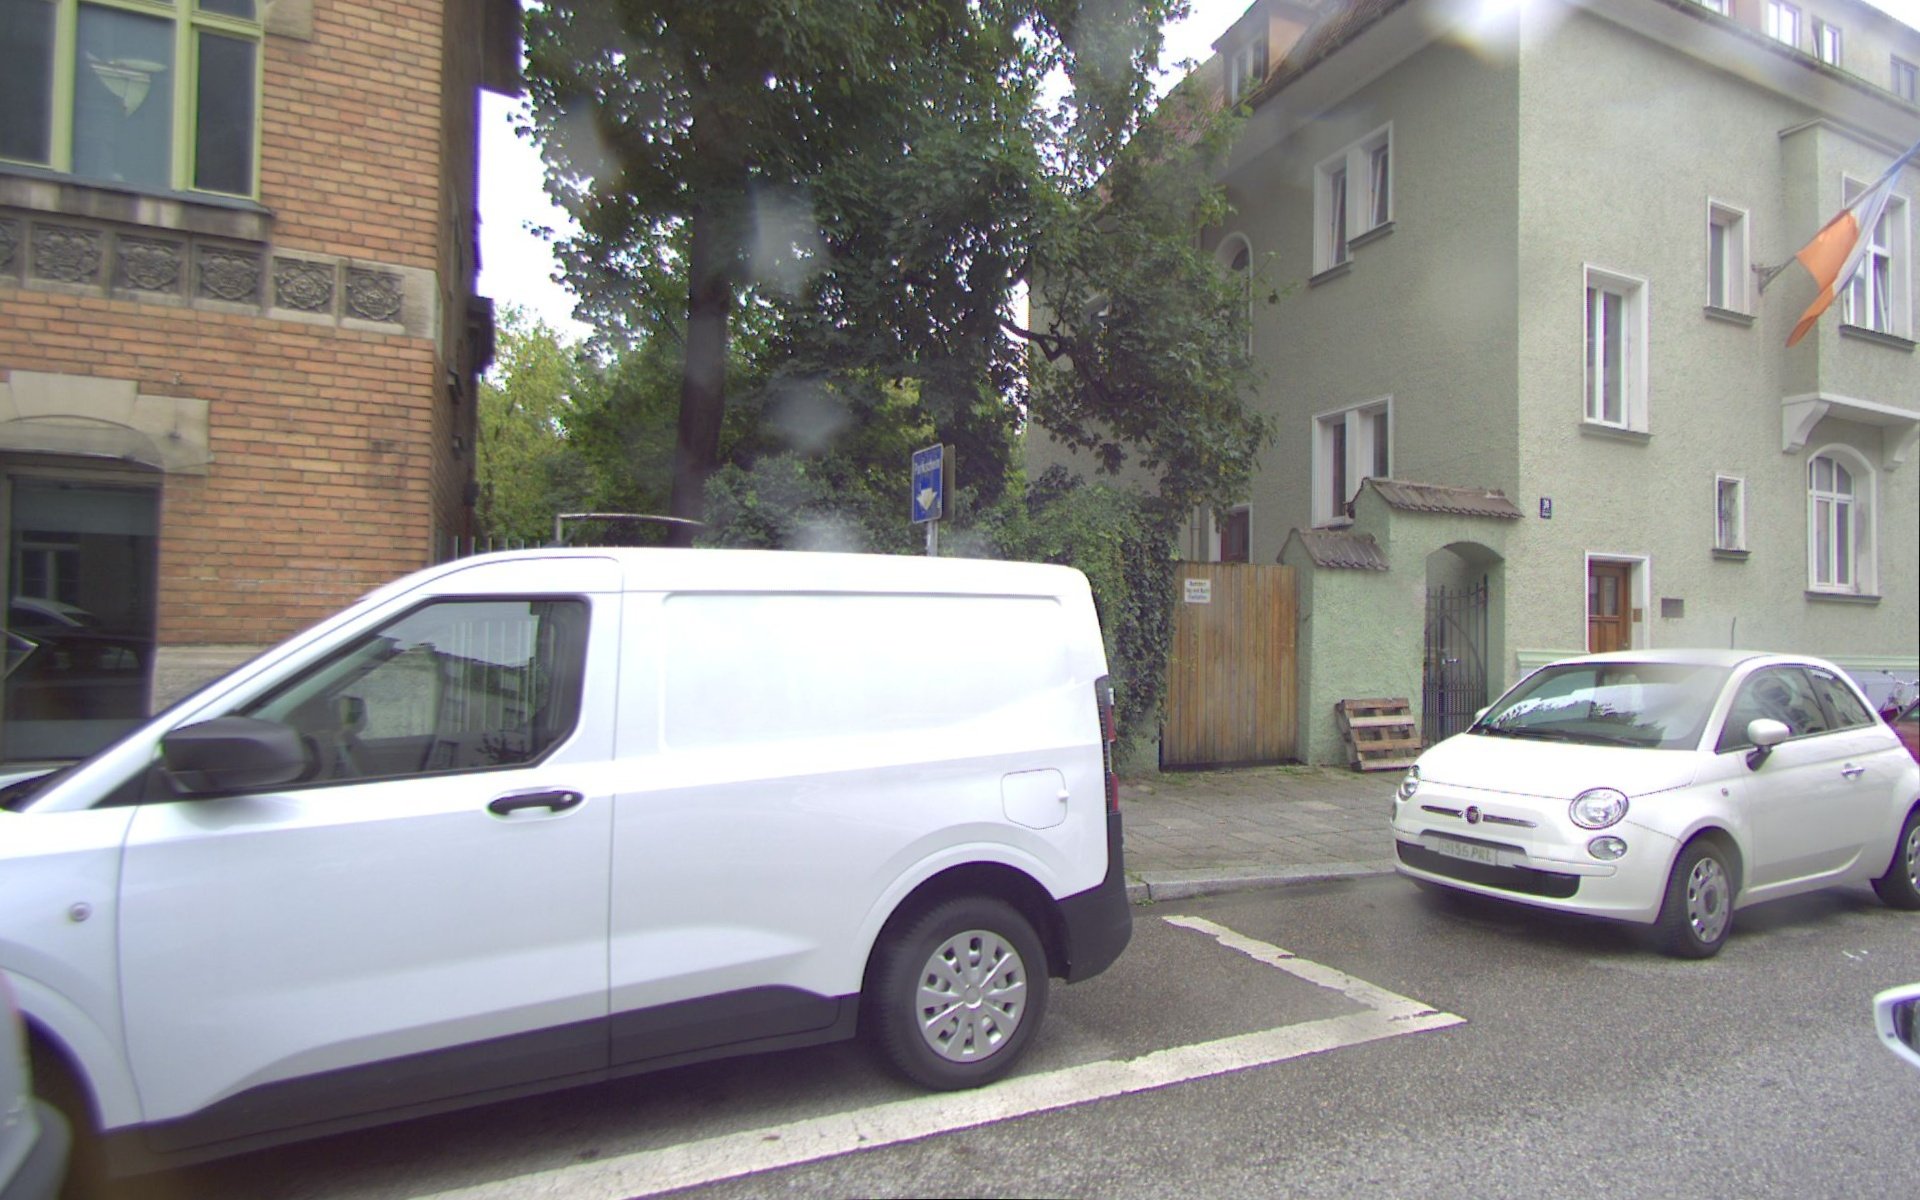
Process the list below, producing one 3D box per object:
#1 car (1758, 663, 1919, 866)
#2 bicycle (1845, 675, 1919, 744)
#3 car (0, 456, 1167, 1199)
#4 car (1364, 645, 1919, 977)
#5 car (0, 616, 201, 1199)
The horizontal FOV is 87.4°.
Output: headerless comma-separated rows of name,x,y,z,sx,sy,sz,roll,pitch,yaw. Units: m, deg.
car,8.710,1.257,8.144,4.277,1.431,1.855,3,-4,-26
bicycle,14.113,1.629,15.115,1.905,0.919,0.520,2,1,-28
car,-1.460,0.667,3.450,4.090,1.827,1.685,2,-3,-26
car,4.143,1.029,5.922,3.270,1.485,1.469,2,-3,-26
car,-2.803,0.668,0.472,3.562,1.429,1.577,2,-2,-24
